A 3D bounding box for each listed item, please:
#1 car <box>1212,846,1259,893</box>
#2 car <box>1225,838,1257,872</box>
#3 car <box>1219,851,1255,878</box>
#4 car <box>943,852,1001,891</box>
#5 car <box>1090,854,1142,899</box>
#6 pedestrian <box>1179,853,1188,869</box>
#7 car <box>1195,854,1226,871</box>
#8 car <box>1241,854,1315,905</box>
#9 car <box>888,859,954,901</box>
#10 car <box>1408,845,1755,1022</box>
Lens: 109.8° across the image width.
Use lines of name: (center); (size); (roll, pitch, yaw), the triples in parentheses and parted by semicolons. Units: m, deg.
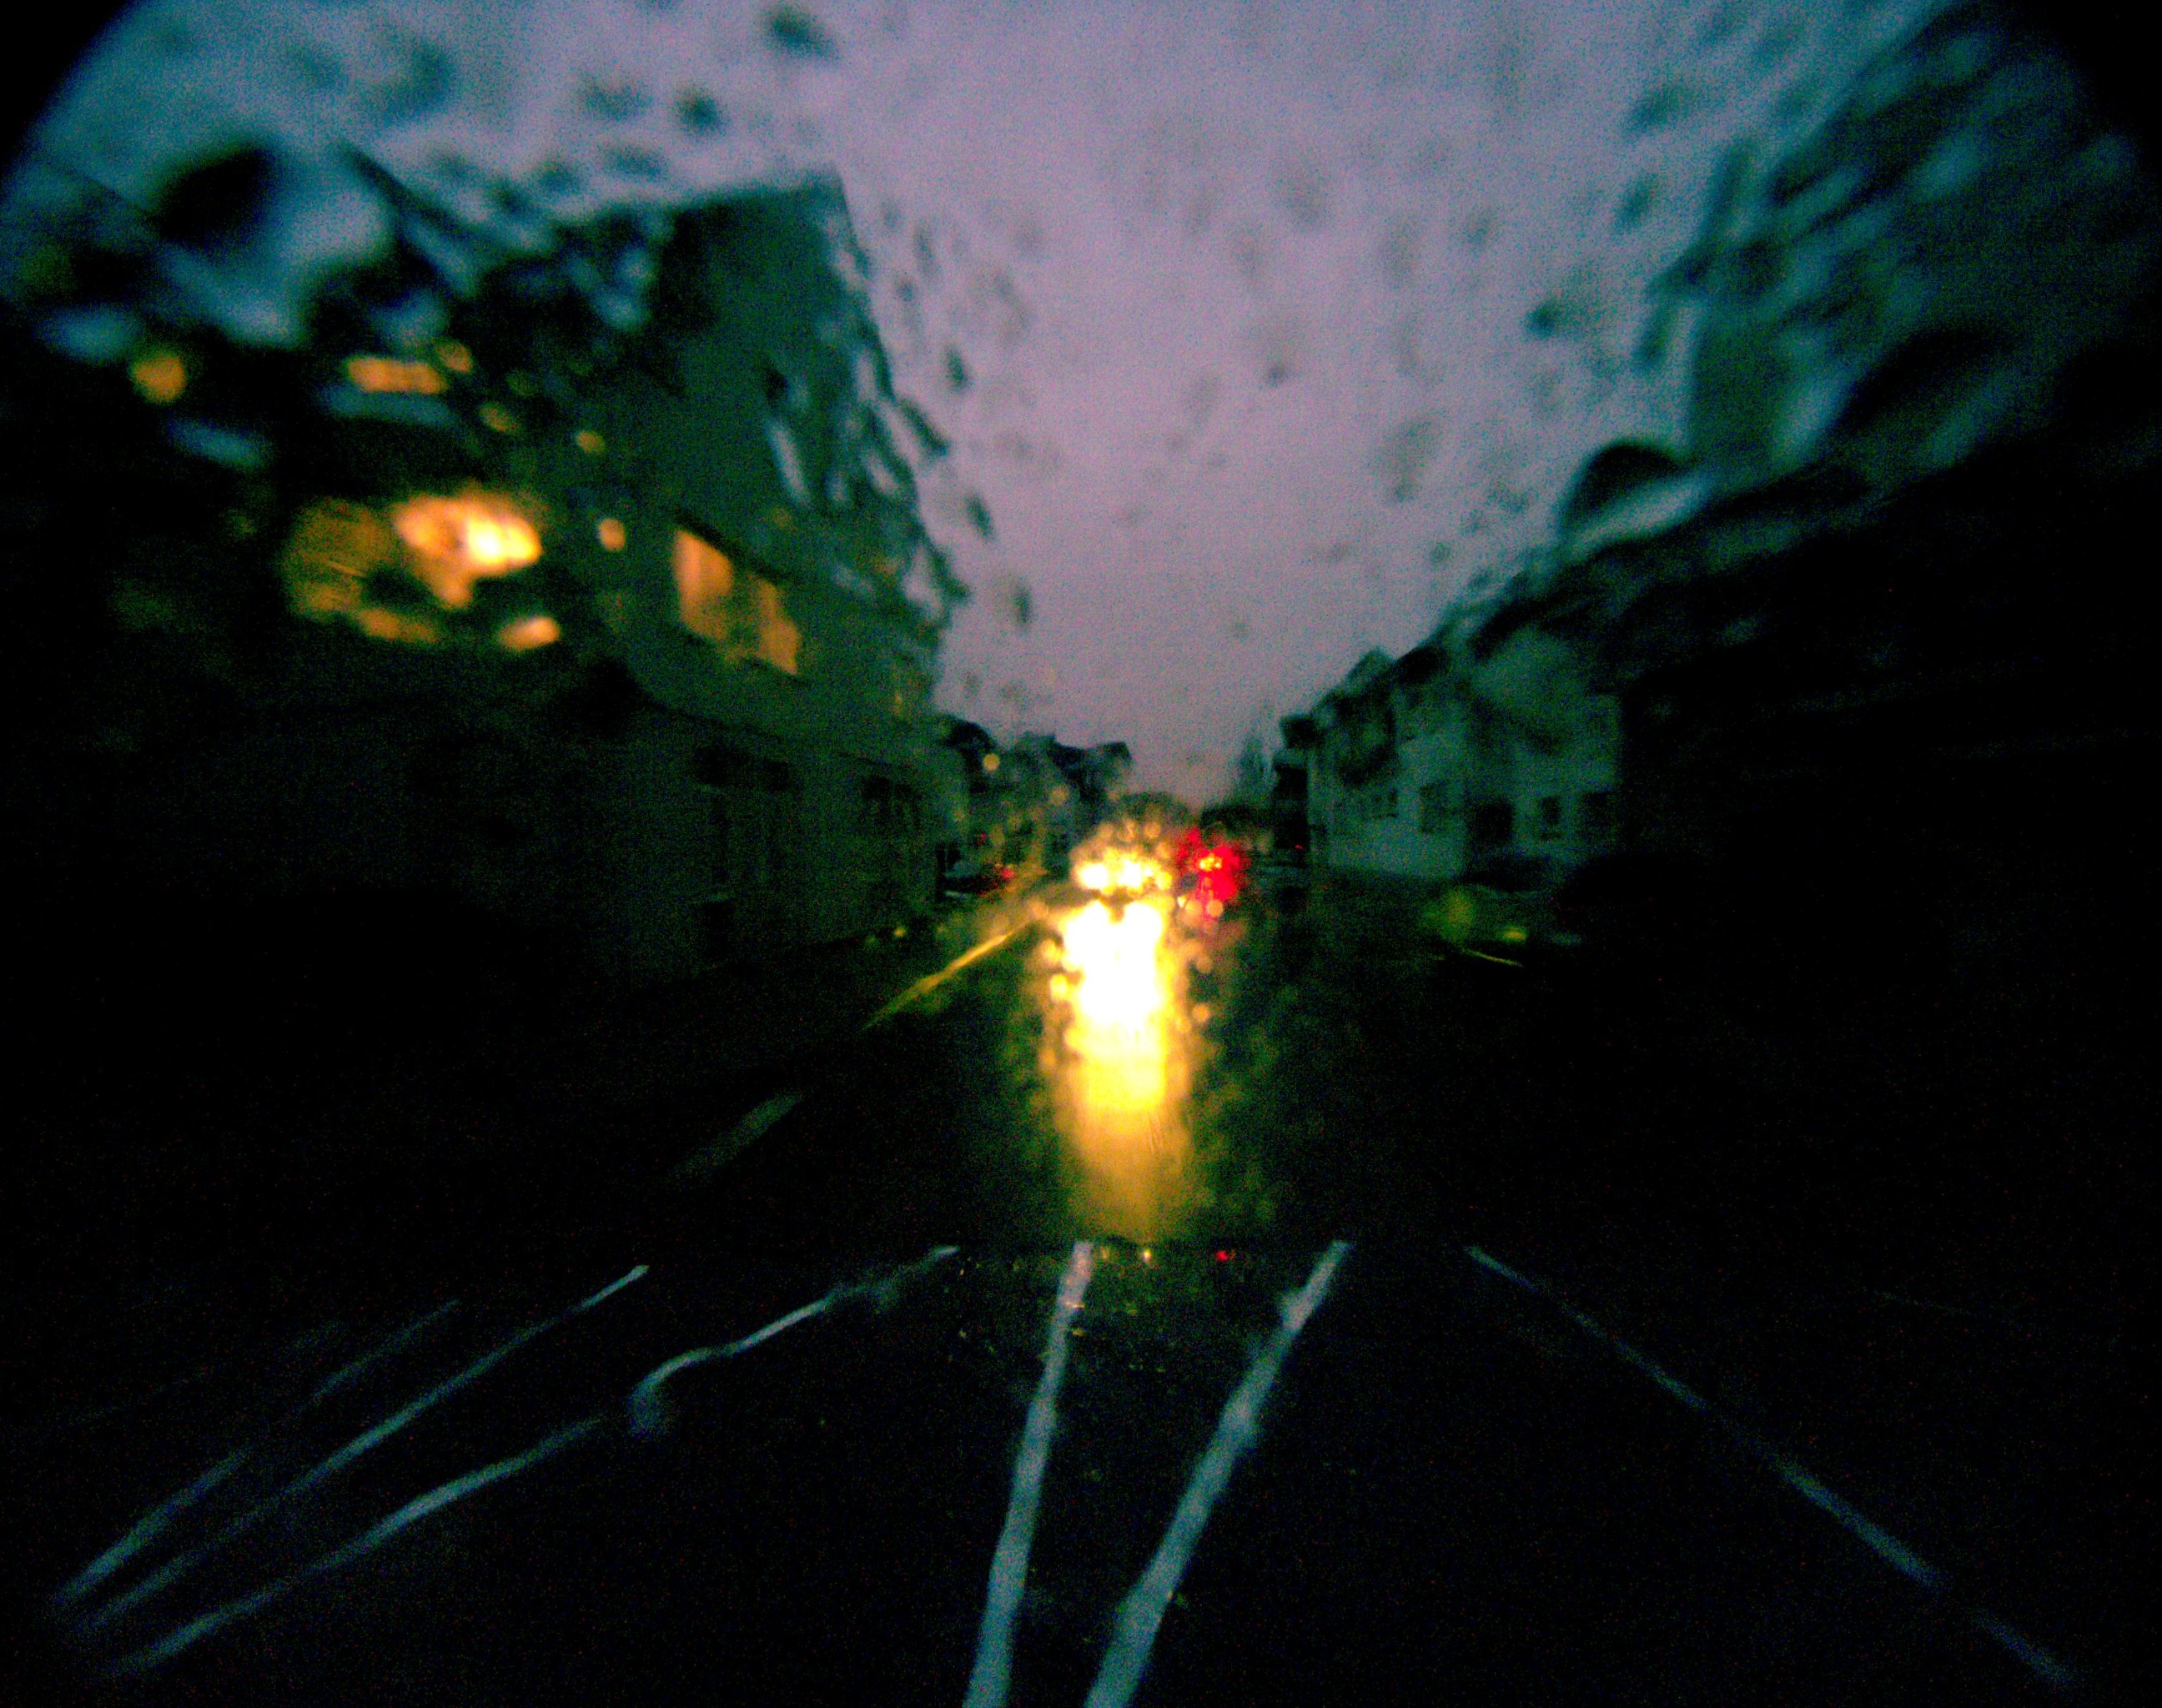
car: (7.031, 0.682, 34.835); (1.883, 1.888, 4.838); (-3, -1, 11)
car: (13.403, 0.059, 63.483); (2.044, 2.644, 4.215); (-4, -1, 17)
car: (10.495, 0.658, 50.885); (1.937, 1.660, 4.346); (-4, -1, 16)
car: (-5.293, 0.843, 37.431); (1.784, 1.811, 4.246); (0, 0, 7)
car: (1.391, 0.827, 29.772); (1.878, 1.622, 4.001); (-1, 0, 3)
pedestrian: (10.690, 0.709, 79.100); (0.648, 1.651, 0.651); (2, 0, 41)
car: (11.716, 0.752, 68.516); (1.995, 1.491, 4.006); (-1, 0, 20)
car: (6.509, 0.788, 25.529); (1.798, 1.448, 4.397); (-3, 0, 7)
car: (-5.777, 0.947, 27.830); (1.786, 1.398, 3.754); (1, -2, -4)
car: (5.616, 0.765, 9.193); (1.725, 1.605, 3.816); (-4, 0, 2)
